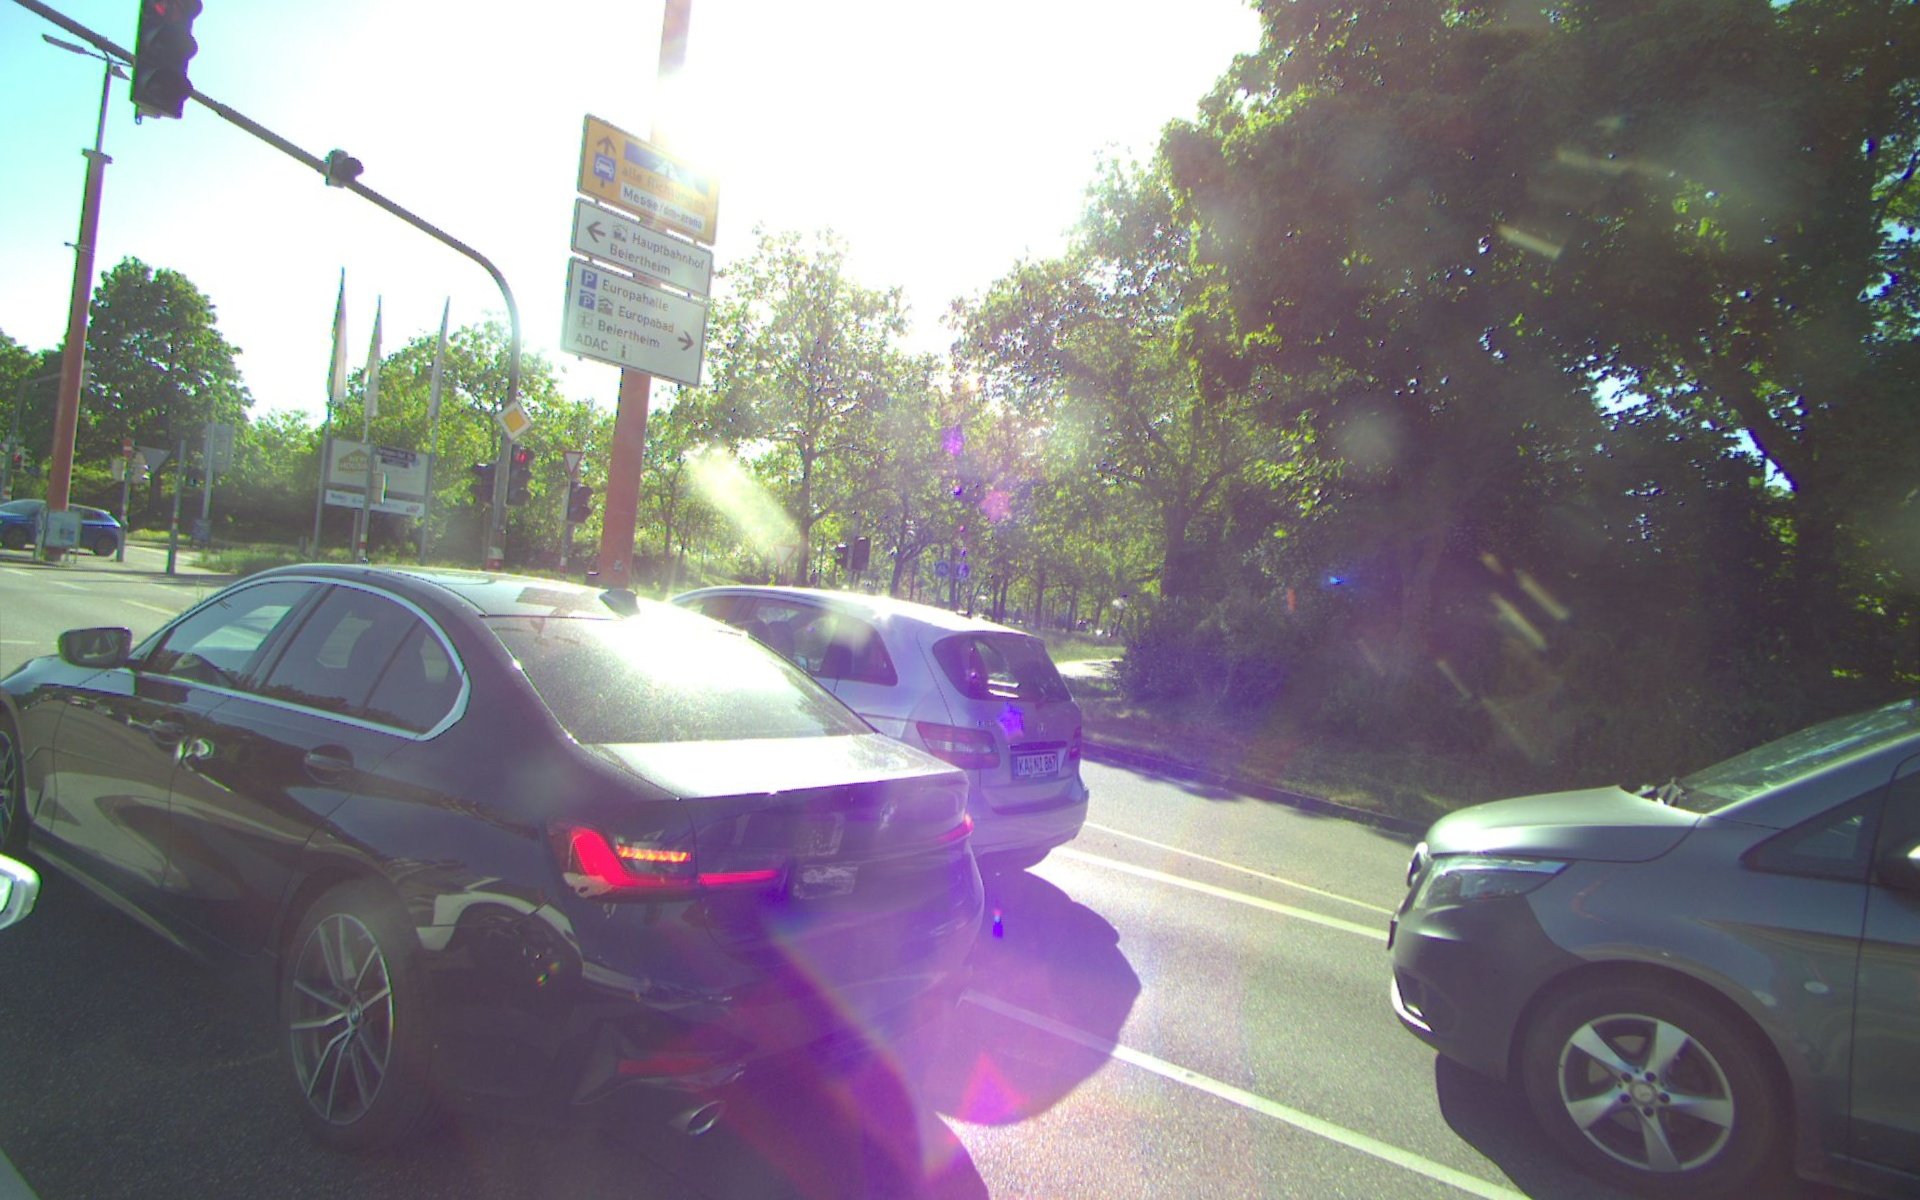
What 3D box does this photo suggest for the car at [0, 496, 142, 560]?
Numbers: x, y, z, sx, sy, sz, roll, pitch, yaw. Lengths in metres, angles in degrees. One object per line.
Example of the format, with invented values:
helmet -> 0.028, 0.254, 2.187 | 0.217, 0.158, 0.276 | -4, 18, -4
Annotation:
car -> -26.708, -2.156, 29.233 | 1.848, 1.445, 4.284 | 7, -1, 10

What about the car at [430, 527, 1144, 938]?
car -> -1.282, 0.638, 6.793 | 4.403, 1.706, 1.970 | 7, -1, 32

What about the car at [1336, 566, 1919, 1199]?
car -> 4.115, 1.151, 3.124 | 5.063, 1.916, 1.996 | 7, 0, 32

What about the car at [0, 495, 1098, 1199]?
car -> -1.959, 0.527, 3.885 | 4.403, 1.411, 1.996 | 7, 0, 32
